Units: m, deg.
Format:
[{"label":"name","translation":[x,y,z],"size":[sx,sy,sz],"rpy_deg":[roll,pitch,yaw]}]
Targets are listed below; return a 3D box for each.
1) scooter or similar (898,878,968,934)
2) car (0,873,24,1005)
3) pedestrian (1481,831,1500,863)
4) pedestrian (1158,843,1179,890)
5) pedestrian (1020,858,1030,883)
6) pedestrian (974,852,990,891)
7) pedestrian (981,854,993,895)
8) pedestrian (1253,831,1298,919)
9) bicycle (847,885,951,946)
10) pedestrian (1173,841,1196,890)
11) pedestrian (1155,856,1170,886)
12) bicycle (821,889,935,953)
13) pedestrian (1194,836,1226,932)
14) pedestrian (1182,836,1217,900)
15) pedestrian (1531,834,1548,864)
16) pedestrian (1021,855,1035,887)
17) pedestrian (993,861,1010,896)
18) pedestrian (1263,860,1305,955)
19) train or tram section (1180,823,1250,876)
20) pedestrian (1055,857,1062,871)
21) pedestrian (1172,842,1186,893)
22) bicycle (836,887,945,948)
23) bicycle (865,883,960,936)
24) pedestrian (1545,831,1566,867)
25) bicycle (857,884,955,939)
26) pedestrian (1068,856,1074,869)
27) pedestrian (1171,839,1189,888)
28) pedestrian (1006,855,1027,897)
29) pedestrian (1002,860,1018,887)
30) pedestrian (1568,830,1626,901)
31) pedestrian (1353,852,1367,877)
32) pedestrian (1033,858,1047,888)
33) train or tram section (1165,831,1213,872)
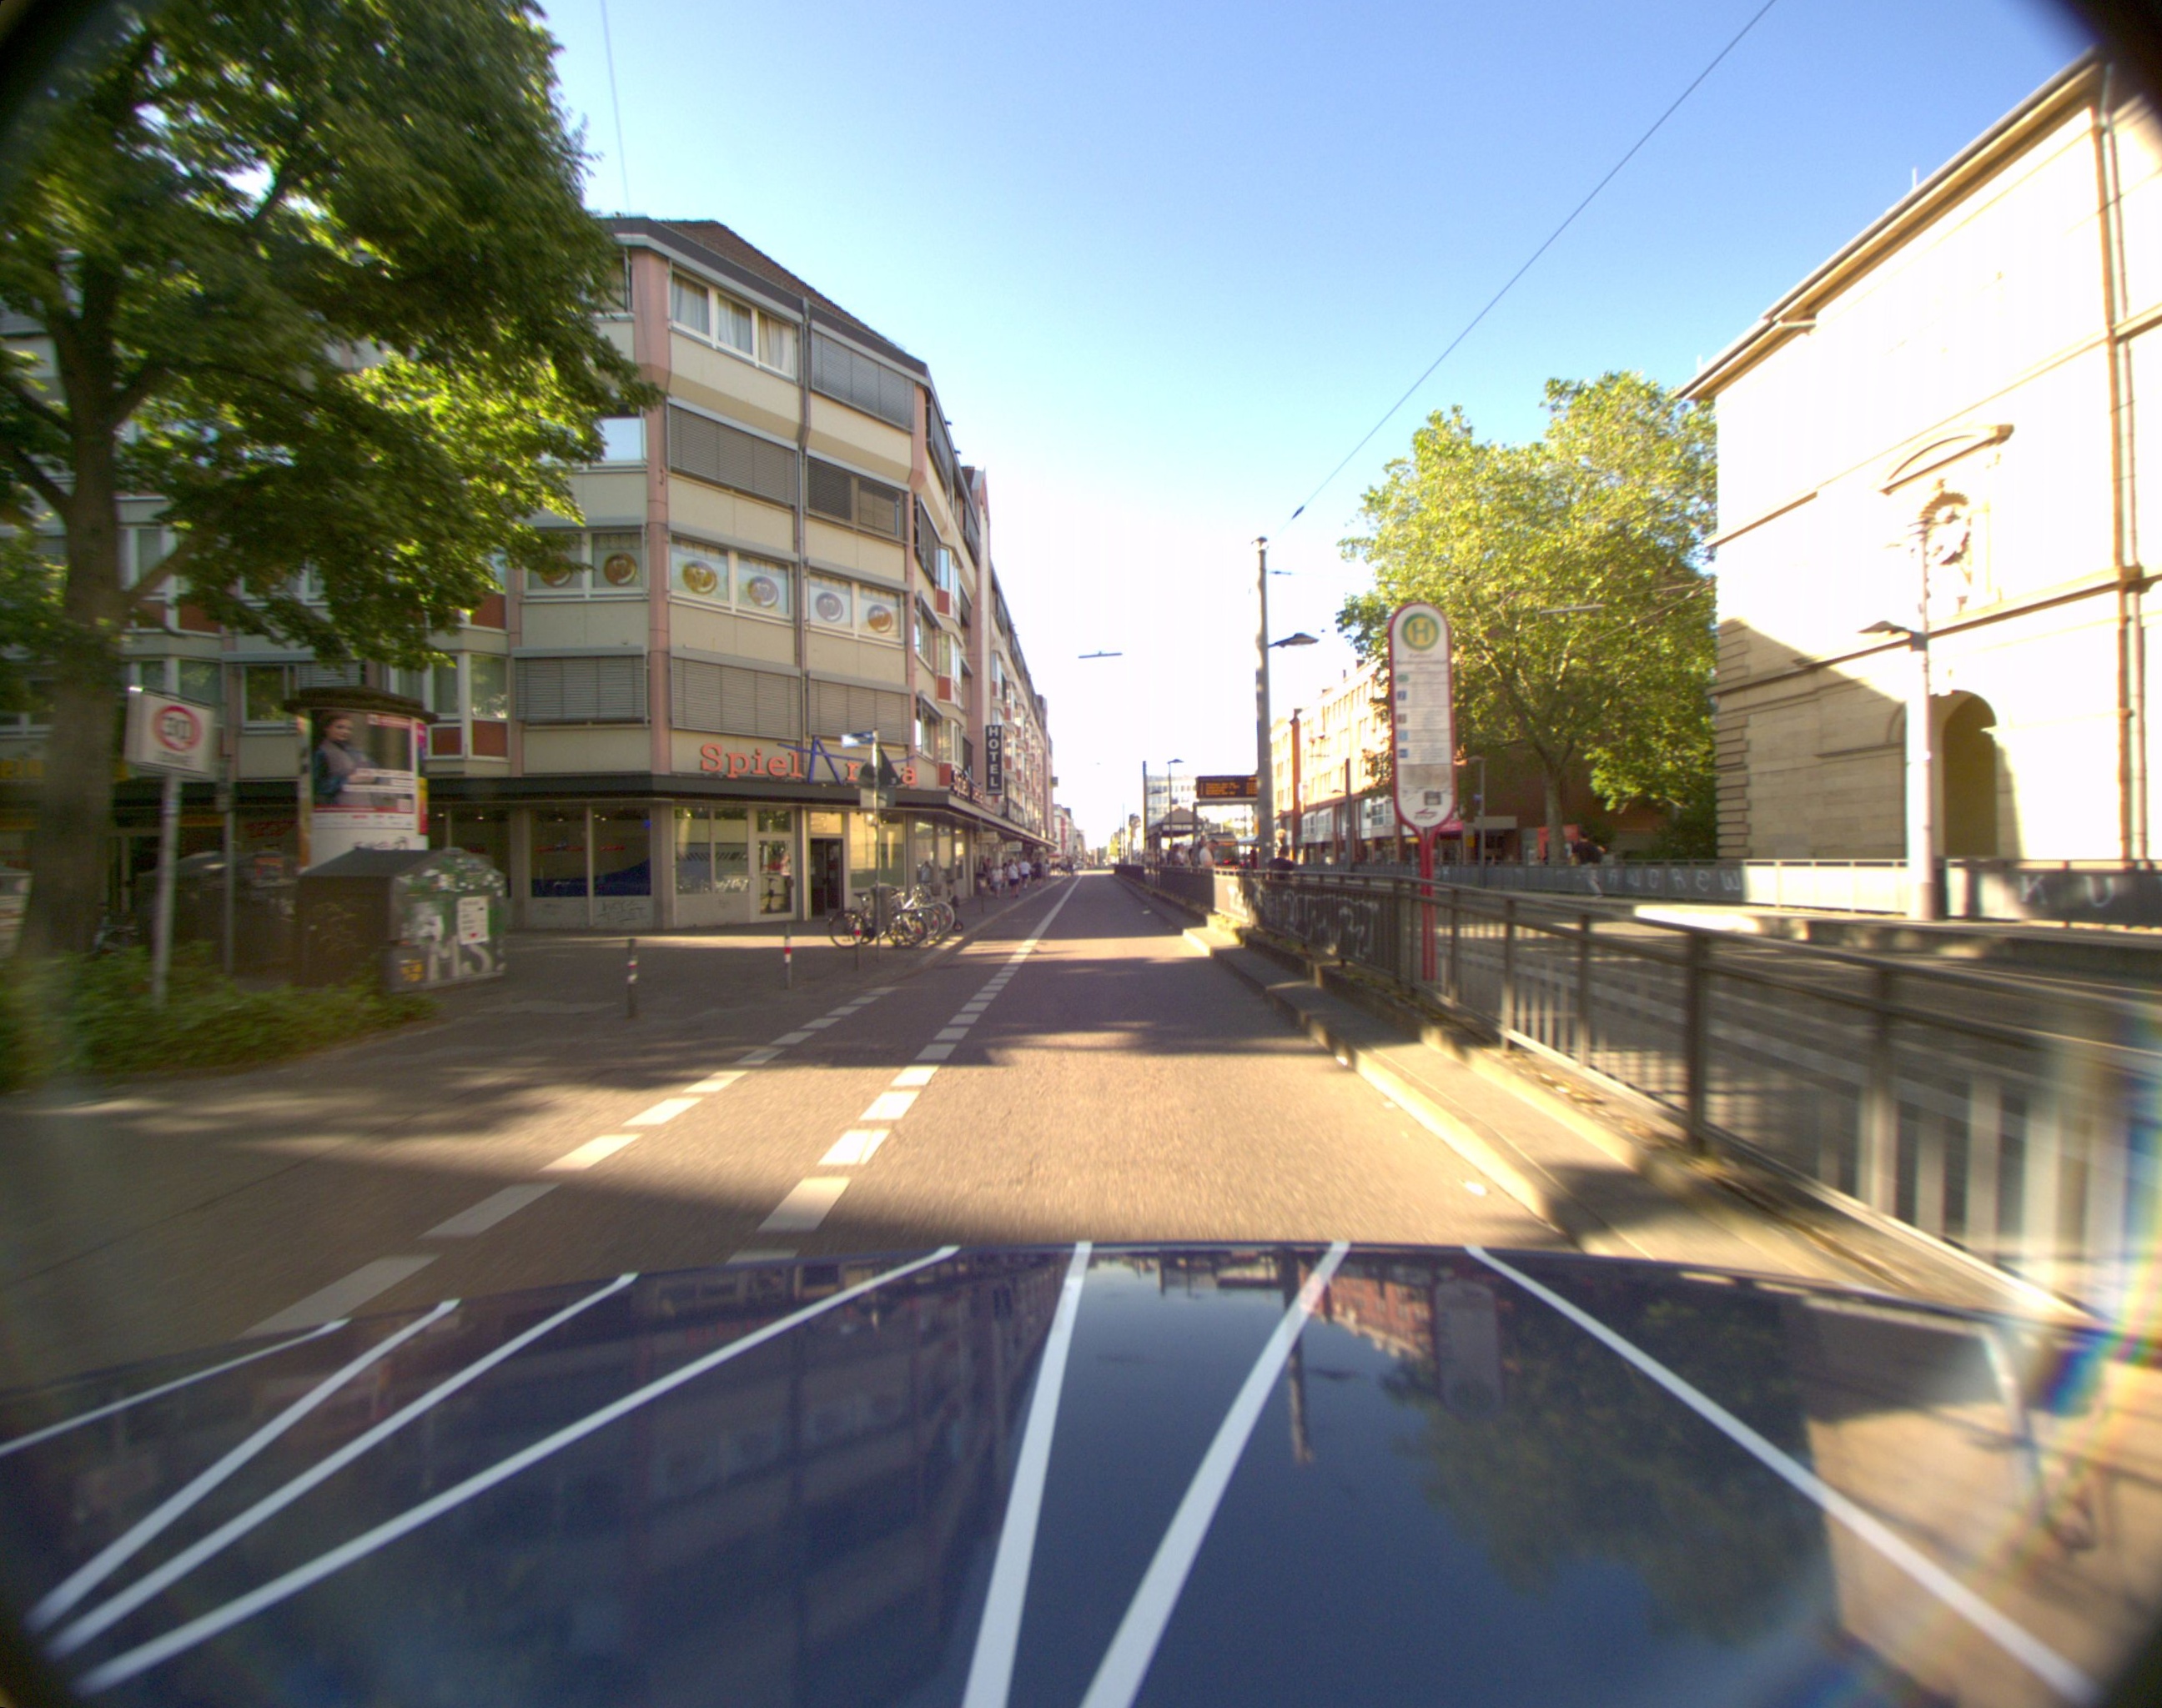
[{"label":"scooter or similar","translation":[-3.374,1.177,17.381],"size":[1.482,1.222,0.591],"rpy_deg":[1,0,1]},{"label":"car","translation":[-14.559,1.067,7.709],"size":[1.996,1.593,4.005],"rpy_deg":[-1,0,17]},{"label":"pedestrian","translation":[23.905,-0.410,44.358],"size":[0.688,1.795,0.648],"rpy_deg":[-2,0,0]},{"label":"pedestrian","translation":[3.320,0.467,28.837],"size":[0.691,1.755,0.748],"rpy_deg":[-1,0,0]},{"label":"pedestrian","translation":[-3.651,1.072,49.826],"size":[0.602,1.581,0.554],"rpy_deg":[0,0,1]},{"label":"pedestrian","translation":[-4.413,0.782,33.896],"size":[0.631,1.759,0.501],"rpy_deg":[0,0,1]},{"label":"pedestrian","translation":[-4.290,0.925,34.546],"size":[0.452,1.838,0.812],"rpy_deg":[0,0,-1]},{"label":"pedestrian","translation":[3.885,0.413,15.220],"size":[0.764,1.724,0.590],"rpy_deg":[-1,0,7]},{"label":"bicycle","translation":[-3.682,1.241,15.462],"size":[1.950,1.159,0.628],"rpy_deg":[-1,0,-1]},{"label":"pedestrian","translation":[3.699,0.410,27.278],"size":[0.691,1.741,0.748],"rpy_deg":[-1,0,0]},{"label":"pedestrian","translation":[3.466,0.730,32.191],"size":[0.541,1.245,0.460],"rpy_deg":[-2,1,0]},{"label":"bicycle","translation":[-3.732,1.224,14.051],"size":[1.950,1.100,0.564],"rpy_deg":[-1,0,-1]},{"label":"pedestrian","translation":[2.897,0.661,17.120],"size":[0.539,2.108,0.807],"rpy_deg":[-1,0,0]},{"label":"pedestrian","translation":[3.477,0.397,22.335],"size":[0.772,1.820,0.804],"rpy_deg":[-3,1,-3]},{"label":"pedestrian","translation":[24.348,-0.266,40.326],"size":[0.584,1.521,0.474],"rpy_deg":[-2,0,2]},{"label":"pedestrian","translation":[-3.004,0.955,43.060],"size":[0.708,1.809,0.763],"rpy_deg":[2,0,0]},{"label":"pedestrian","translation":[-3.433,1.067,32.731],"size":[0.637,1.474,0.654],"rpy_deg":[1,1,0]},{"label":"pedestrian","translation":[2.903,0.747,10.867],"size":[0.480,1.321,0.355],"rpy_deg":[-1,0,30]},{"label":"train or tram section","translation":[10.525,-0.208,61.747],"size":[2.981,3.622,16.488],"rpy_deg":[-3,-1,1]},{"label":"pedestrian","translation":[-2.410,1.076,80.192],"size":[0.667,1.512,0.789],"rpy_deg":[1,0,-4]},{"label":"pedestrian","translation":[3.198,0.430,24.883],"size":[0.352,1.659,0.529],"rpy_deg":[-1,0,0]},{"label":"bicycle","translation":[-3.664,1.220,14.701],"size":[1.950,1.100,0.564],"rpy_deg":[-1,0,-1]},{"label":"bicycle","translation":[-3.695,1.204,16.730],"size":[1.950,1.100,0.564],"rpy_deg":[-1,0,-1]},{"label":"pedestrian","translation":[25.117,-0.264,40.199],"size":[0.708,1.871,0.626],"rpy_deg":[-1,0,5]},{"label":"bicycle","translation":[-3.691,1.210,16.117],"size":[1.950,1.100,0.564],"rpy_deg":[-1,0,-1]},{"label":"pedestrian","translation":[-1.242,1.016,91.259],"size":[0.709,1.604,0.495],"rpy_deg":[-1,0,0]},{"label":"pedestrian","translation":[3.373,0.329,25.992],"size":[0.494,1.639,0.590],"rpy_deg":[-1,0,0]},{"label":"pedestrian","translation":[-2.782,0.940,32.770],"size":[0.746,1.717,0.814],"rpy_deg":[-3,1,1]},{"label":"pedestrian","translation":[-3.878,1.066,41.674],"size":[0.740,1.463,0.707],"rpy_deg":[1,1,2]},{"label":"pedestrian","translation":[12.475,0.269,18.397],"size":[0.697,1.658,1.033],"rpy_deg":[-1,0,1]},{"label":"pedestrian","translation":[21.407,0.833,58.301],"size":[0.791,1.905,0.665],"rpy_deg":[-1,0,-1]},{"label":"pedestrian","translation":[-2.345,1.078,43.446],"size":[0.669,1.718,0.810],"rpy_deg":[1,1,0]},{"label":"train or tram section","translation":[10.754,-0.193,76.976],"size":[2.981,3.623,13.944],"rpy_deg":[-3,0,1]}]
